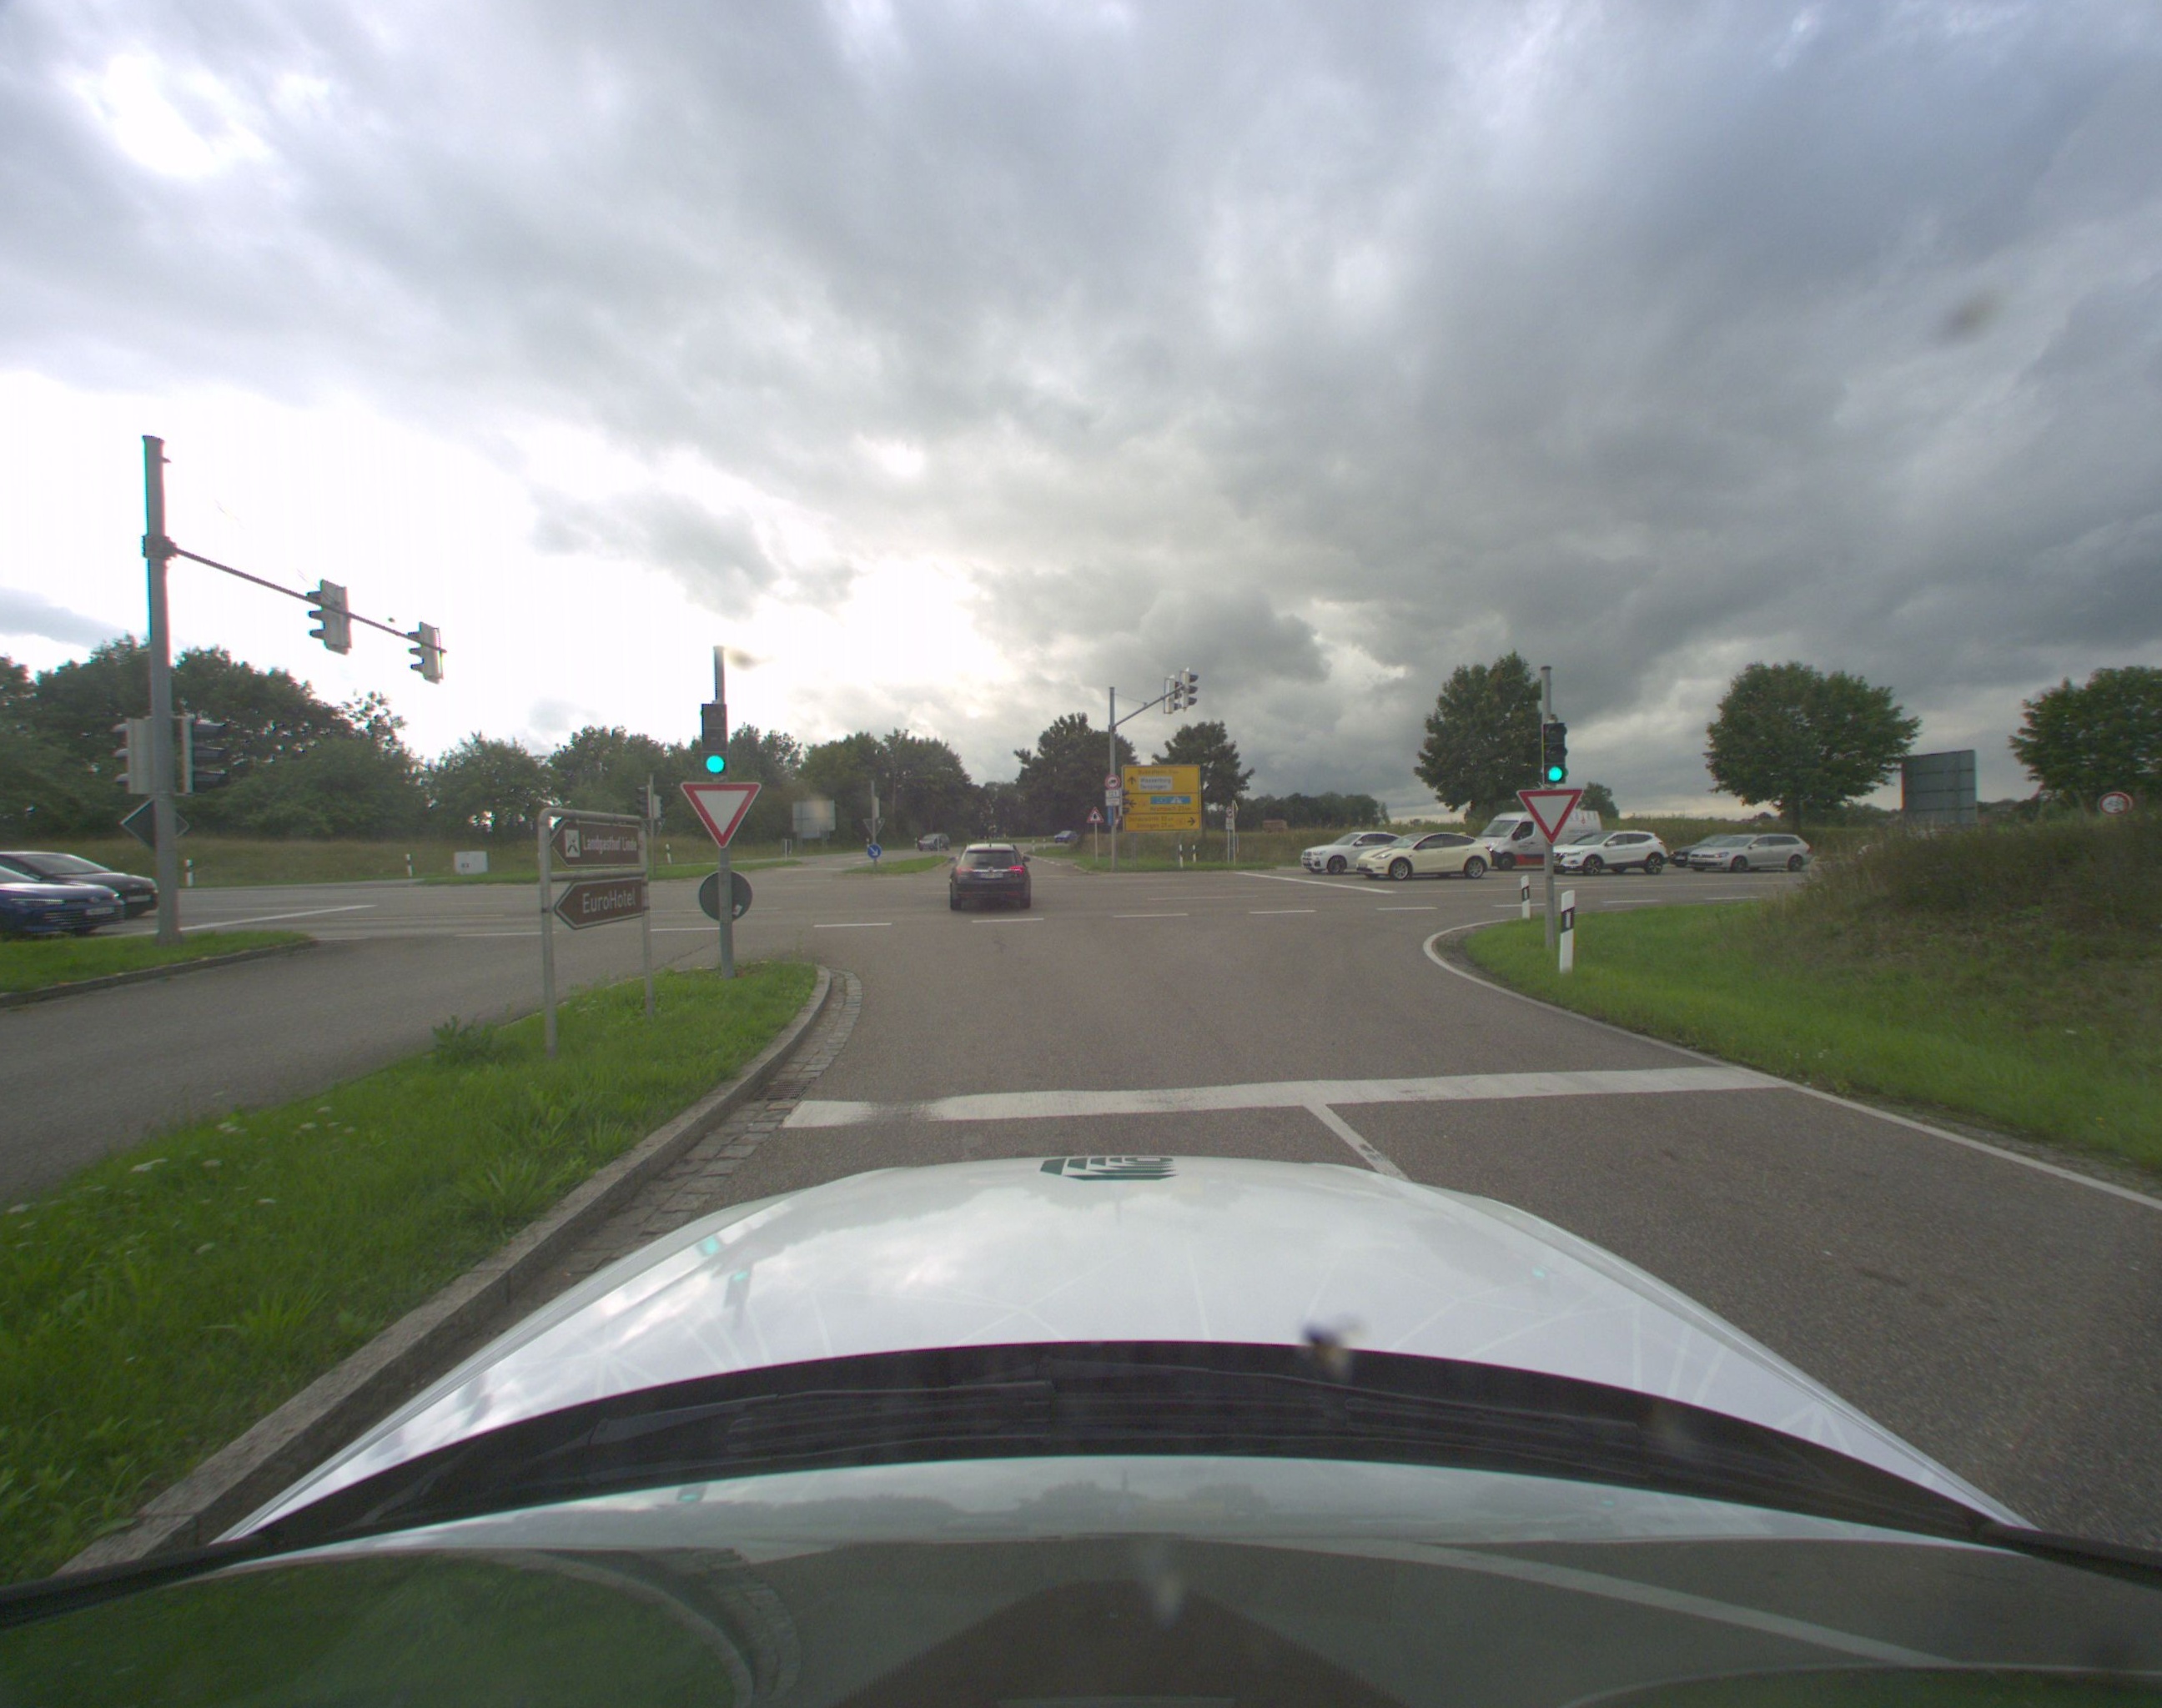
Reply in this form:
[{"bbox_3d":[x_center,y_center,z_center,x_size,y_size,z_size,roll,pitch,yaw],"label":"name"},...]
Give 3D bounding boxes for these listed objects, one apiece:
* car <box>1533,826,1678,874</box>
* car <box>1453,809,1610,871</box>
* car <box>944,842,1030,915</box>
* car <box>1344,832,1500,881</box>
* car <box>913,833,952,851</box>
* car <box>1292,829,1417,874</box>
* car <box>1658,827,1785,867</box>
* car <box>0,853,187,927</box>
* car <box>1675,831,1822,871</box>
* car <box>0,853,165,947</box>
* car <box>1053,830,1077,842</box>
[{"bbox_3d":[19.330,-0.154,30.099,4.310,1.629,1.993,-1,0,-11],"label":"car"},{"bbox_3d":[18.847,-0.594,34.161,5.496,2.441,2.390,-1,0,-10],"label":"car"},{"bbox_3d":[-2.235,0.486,19.546,1.805,1.450,4.264,-1,2,-6],"label":"car"},{"bbox_3d":[11.858,0.070,28.418,4.735,1.565,1.992,-1,0,-11],"label":"car"},{"bbox_3d":[-12.649,-1.011,69.663,1.981,1.535,4.013,-1,0,11],"label":"car"},{"bbox_3d":[10.780,-0.106,32.188,4.263,1.629,1.992,-1,0,-12],"label":"car"},{"bbox_3d":[27.511,-0.297,35.024,4.262,1.629,1.993,-1,0,-11],"label":"car"},{"bbox_3d":[-22.214,0.747,17.374,3.932,1.443,1.725,-1,1,-11],"label":"car"},{"bbox_3d":[25.649,-0.143,31.360,4.568,1.454,1.993,-1,1,-12],"label":"car"},{"bbox_3d":[-20.019,0.801,14.163,5.116,1.534,2.043,-1,1,-14],"label":"car"},{"bbox_3d":[-2.104,-2.386,108.360,1.980,1.570,4.774,0,1,13],"label":"car"}]
